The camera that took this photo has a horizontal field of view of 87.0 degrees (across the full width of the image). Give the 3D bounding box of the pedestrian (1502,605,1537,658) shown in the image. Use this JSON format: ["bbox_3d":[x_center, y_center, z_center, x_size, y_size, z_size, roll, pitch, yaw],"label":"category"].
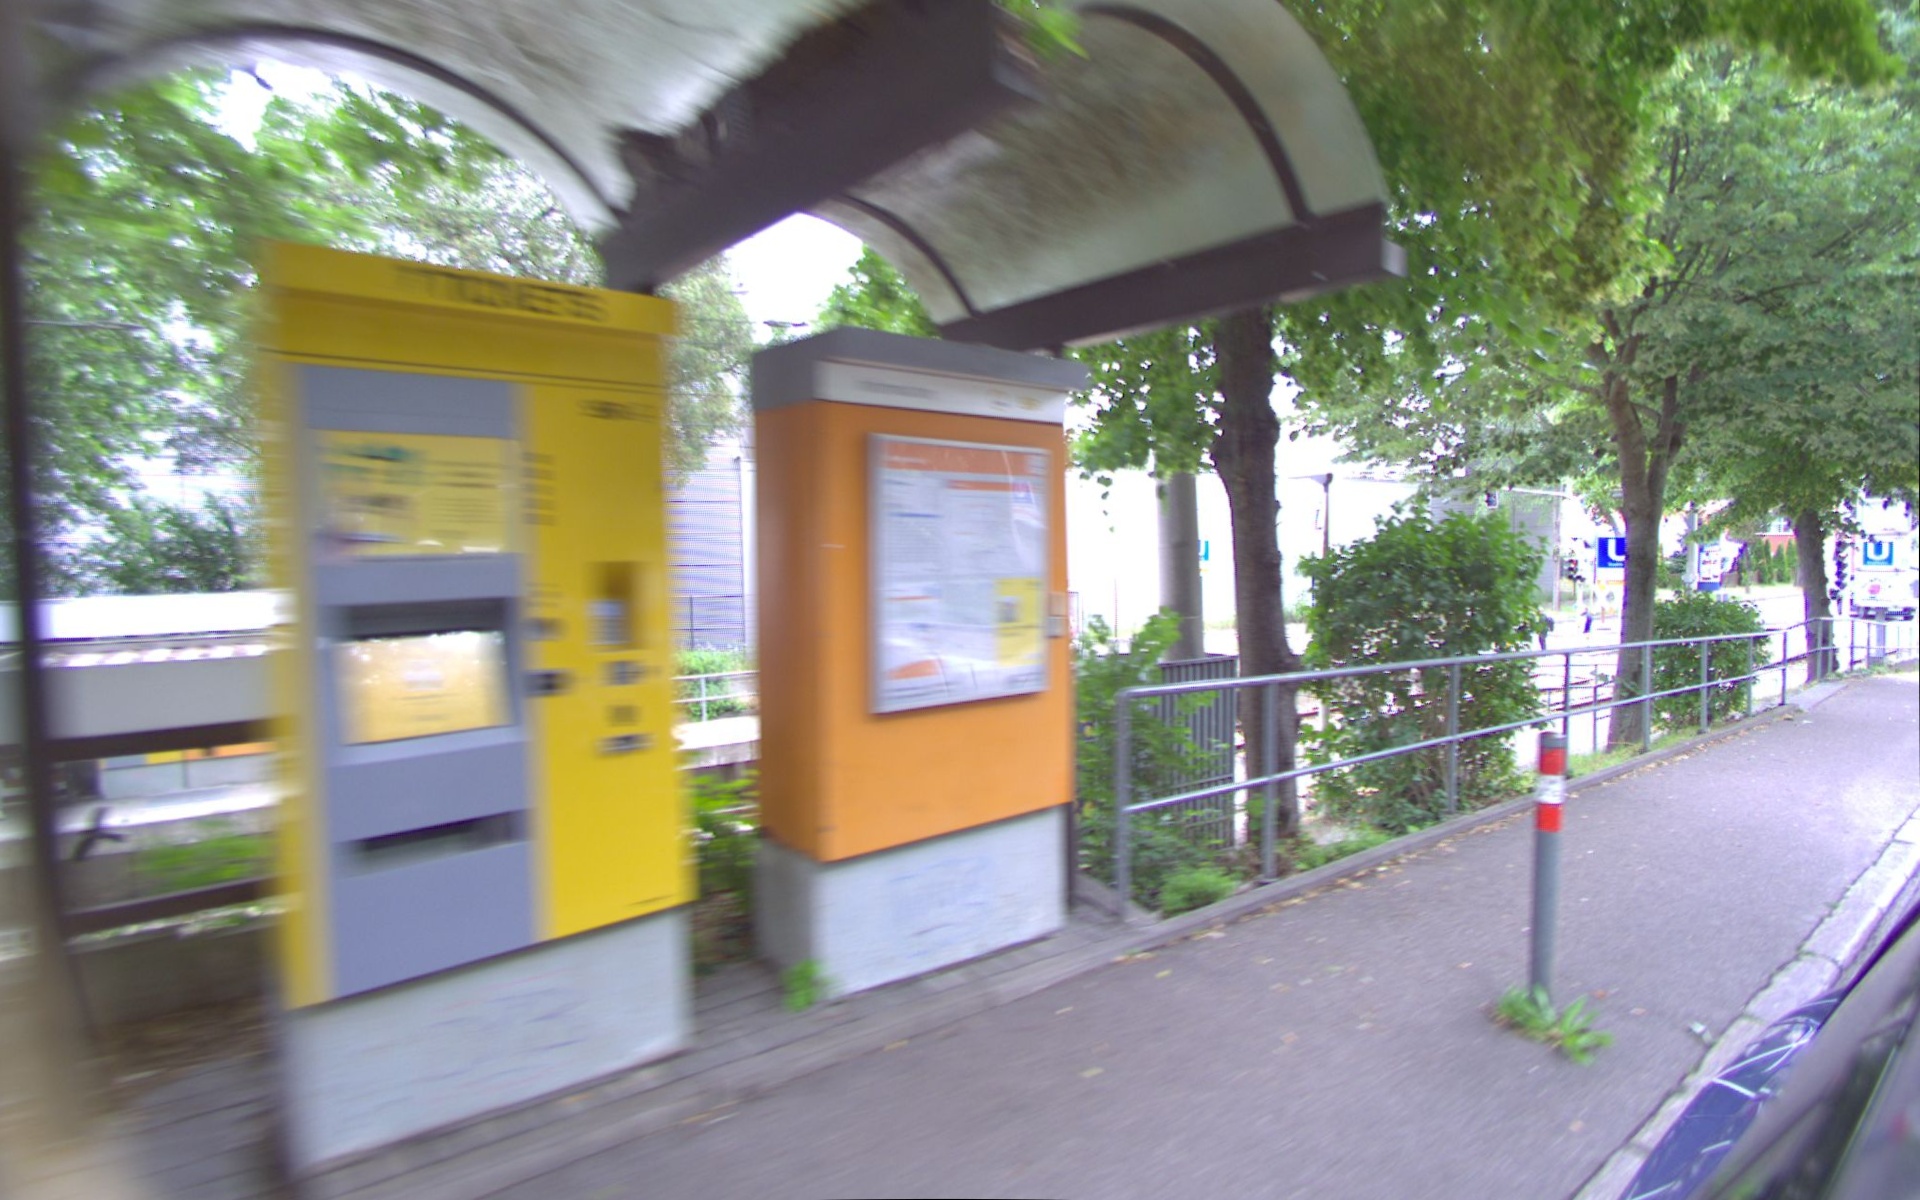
[{"bbox_3d":[18.295,1.016,33.108,0.670,1.697,0.755,0,1,-29],"label":"pedestrian"}]

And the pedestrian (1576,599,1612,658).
[{"bbox_3d":[20.461,0.907,32.674,0.670,1.826,0.755,0,1,-29],"label":"pedestrian"}]

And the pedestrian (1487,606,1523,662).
[{"bbox_3d":[17.048,1.059,31.671,0.670,1.697,0.755,0,1,-29],"label":"pedestrian"}]

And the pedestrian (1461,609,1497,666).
[{"bbox_3d":[16.020,1.136,31.234,0.670,1.697,0.755,0,1,-29],"label":"pedestrian"}]

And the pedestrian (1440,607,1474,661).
[{"bbox_3d":[16.196,1.084,32.970,0.670,1.697,0.755,0,1,-29],"label":"pedestrian"}]

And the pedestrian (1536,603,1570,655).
[{"bbox_3d":[19.838,0.945,33.857,0.670,1.697,0.755,0,1,-29],"label":"pedestrian"}]
